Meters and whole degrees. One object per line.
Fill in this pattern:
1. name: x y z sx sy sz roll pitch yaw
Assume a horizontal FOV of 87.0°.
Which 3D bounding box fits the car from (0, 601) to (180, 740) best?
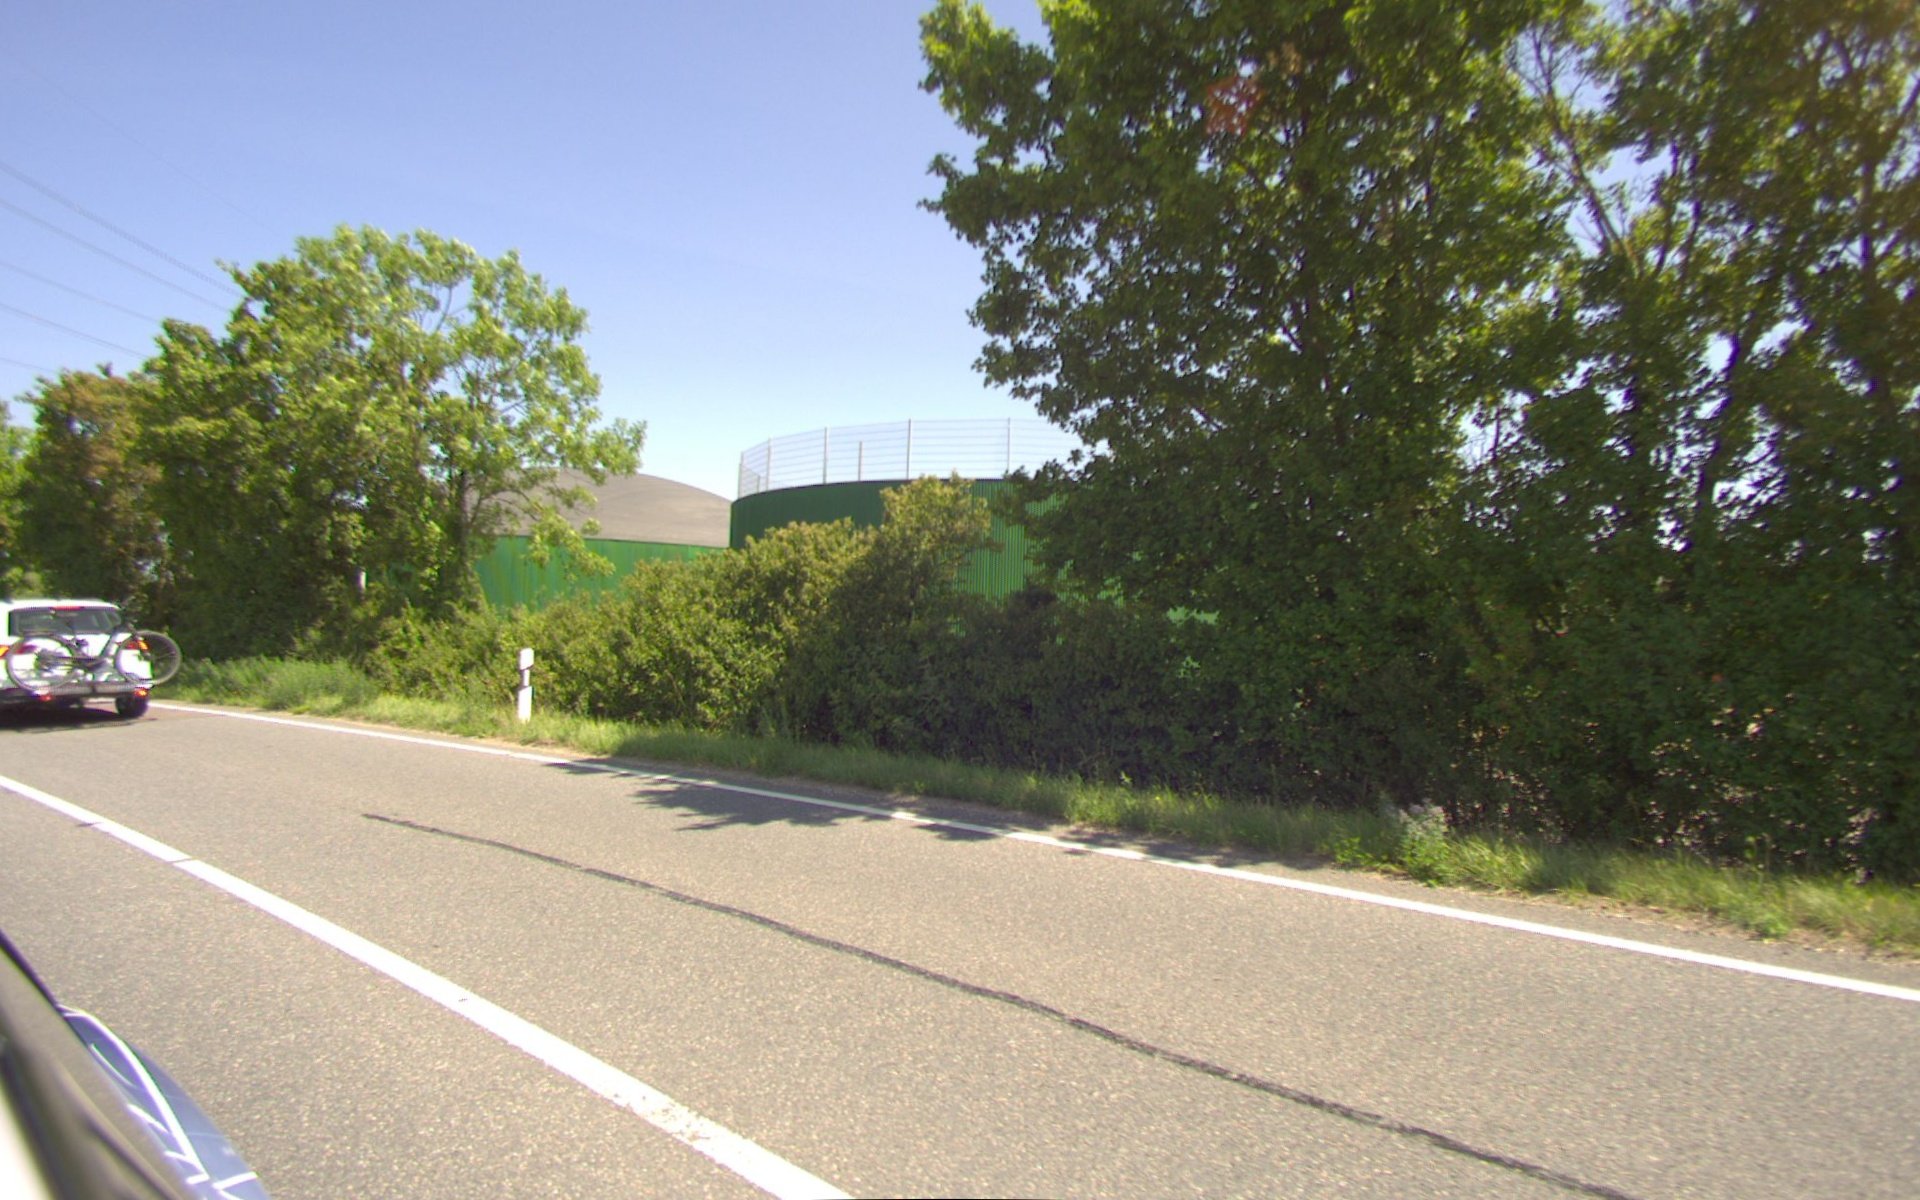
1. car: -12.691 0.848 13.878 4.766 1.613 1.839 -1 0 35
